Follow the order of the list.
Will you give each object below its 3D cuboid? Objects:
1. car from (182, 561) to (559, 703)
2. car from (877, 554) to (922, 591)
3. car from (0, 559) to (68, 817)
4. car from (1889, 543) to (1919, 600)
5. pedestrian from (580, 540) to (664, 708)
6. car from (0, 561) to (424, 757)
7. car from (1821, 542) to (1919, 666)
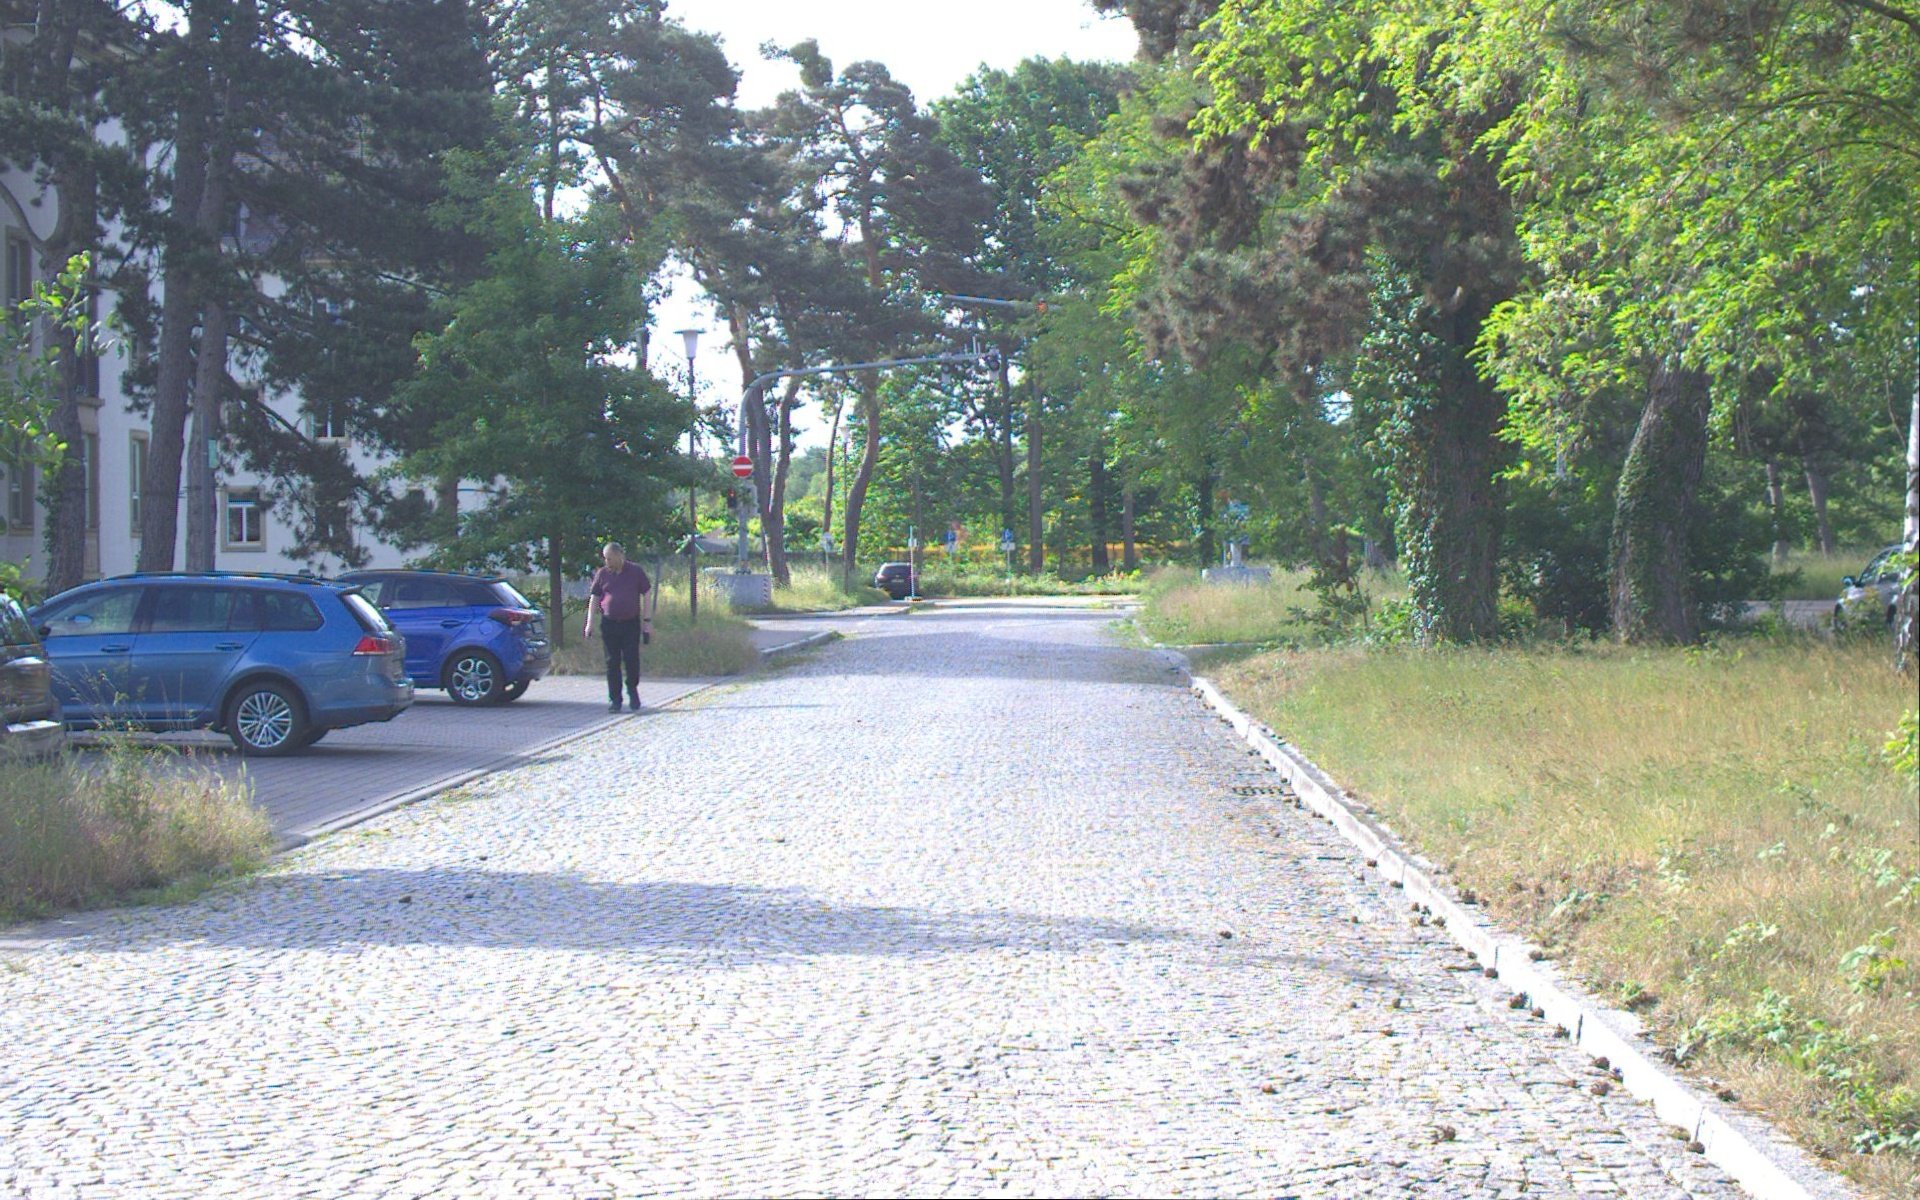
[{"bbox_3d":[-6.500,0.338,38.161,3.836,1.459,1.720,1,1,2],"label":"car"},{"bbox_3d":[-2.511,-1.165,144.324,1.845,1.481,4.000,-1,1,-1],"label":"car"},{"bbox_3d":[-7.085,0.498,21.261,2.699,1.537,1.519,1,1,1],"label":"car"},{"bbox_3d":[23.024,-0.676,79.638,1.731,1.307,4.332,-1,1,-2],"label":"car"},{"bbox_3d":[-3.611,0.246,36.800,0.804,1.765,1.153,-1,1,-2],"label":"pedestrian"},{"bbox_3d":[-6.721,0.463,28.607,4.256,1.459,1.681,1,2,-1],"label":"car"},{"bbox_3d":[12.011,0.012,42.371,1.667,1.463,4.000,-1,1,-2],"label":"car"}]
